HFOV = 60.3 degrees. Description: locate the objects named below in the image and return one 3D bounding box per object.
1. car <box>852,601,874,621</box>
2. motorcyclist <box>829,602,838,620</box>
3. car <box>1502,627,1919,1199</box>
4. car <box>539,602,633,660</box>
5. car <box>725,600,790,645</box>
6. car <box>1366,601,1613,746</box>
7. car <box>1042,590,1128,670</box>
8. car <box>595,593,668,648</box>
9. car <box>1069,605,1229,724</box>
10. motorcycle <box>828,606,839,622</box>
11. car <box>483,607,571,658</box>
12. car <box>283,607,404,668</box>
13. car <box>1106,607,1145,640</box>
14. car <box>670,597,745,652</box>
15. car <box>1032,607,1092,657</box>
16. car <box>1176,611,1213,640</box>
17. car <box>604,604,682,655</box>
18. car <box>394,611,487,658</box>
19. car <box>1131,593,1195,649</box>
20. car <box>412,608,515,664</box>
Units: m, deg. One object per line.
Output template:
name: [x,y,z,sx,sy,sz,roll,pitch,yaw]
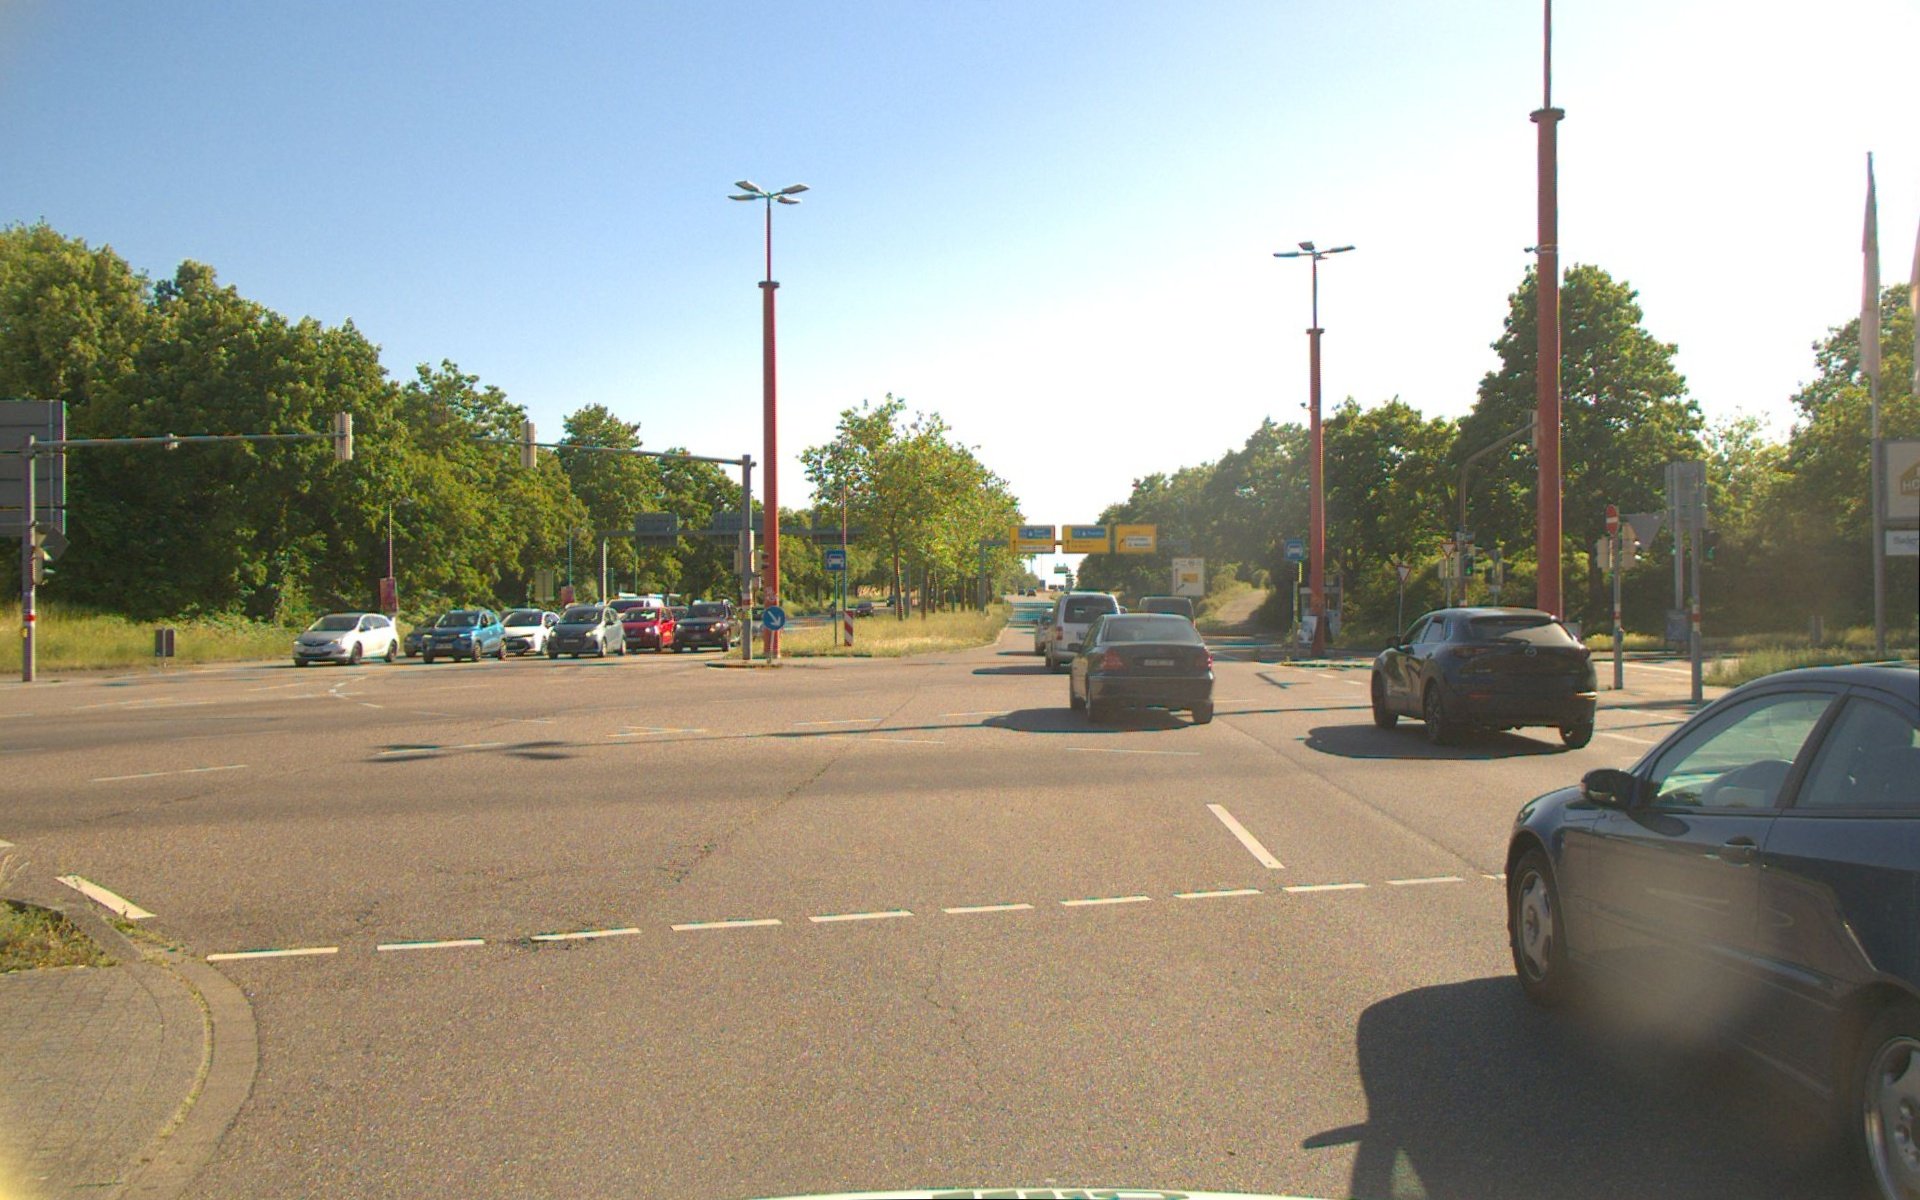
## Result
car: [-9.435,1.063,160.070,1.879,1.878,3.955,0,0,-7]
motorcyclist: [-12.902,1.133,168.544,0.756,1.768,0.916,1,-1,1]
car: [3.133,0.830,5.061,1.683,1.444,4.050,0,0,1]
car: [-11.239,0.908,49.994,1.836,1.577,4.028,-2,0,1]
car: [-7.495,0.817,61.501,1.847,1.570,4.000,-1,0,1]
car: [6.245,0.816,19.993,1.731,1.534,4.226,1,-1,2]
car: [3.021,0.727,40.700,1.767,1.853,4.586,0,-1,0]
car: [-13.568,0.818,68.574,1.921,2.193,5.081,-1,0,0]
car: [2.537,0.828,23.068,1.678,1.479,4.197,0,0,-1]
motorcycle: [-12.910,1.402,168.541,0.743,1.637,2.868,1,-1,2]
car: [-14.361,1.052,55.028,1.862,1.582,3.999,-1,0,-1]
car: [-18.051,1.076,48.646,1.838,1.681,4.219,-1,-1,2]
car: [8.596,1.217,86.160,1.680,1.636,3.847,1,-1,1]
car: [-8.194,0.773,54.030,1.757,1.654,4.143,-2,0,0]
car: [3.270,1.012,53.609,1.767,1.519,4.683,1,-1,2]
car: [12.704,1.365,89.693,1.562,1.517,3.682,1,-1,1]
car: [-10.738,0.985,56.325,1.837,1.579,3.999,-3,0,-1]
car: [-18.136,1.181,57.907,1.846,1.539,4.001,-1,0,2]
car: [7.161,0.726,58.728,1.767,1.884,5.104,-1,0,2]
car: [-14.606,1.027,48.880,1.764,1.542,3.859,-2,0,1]
